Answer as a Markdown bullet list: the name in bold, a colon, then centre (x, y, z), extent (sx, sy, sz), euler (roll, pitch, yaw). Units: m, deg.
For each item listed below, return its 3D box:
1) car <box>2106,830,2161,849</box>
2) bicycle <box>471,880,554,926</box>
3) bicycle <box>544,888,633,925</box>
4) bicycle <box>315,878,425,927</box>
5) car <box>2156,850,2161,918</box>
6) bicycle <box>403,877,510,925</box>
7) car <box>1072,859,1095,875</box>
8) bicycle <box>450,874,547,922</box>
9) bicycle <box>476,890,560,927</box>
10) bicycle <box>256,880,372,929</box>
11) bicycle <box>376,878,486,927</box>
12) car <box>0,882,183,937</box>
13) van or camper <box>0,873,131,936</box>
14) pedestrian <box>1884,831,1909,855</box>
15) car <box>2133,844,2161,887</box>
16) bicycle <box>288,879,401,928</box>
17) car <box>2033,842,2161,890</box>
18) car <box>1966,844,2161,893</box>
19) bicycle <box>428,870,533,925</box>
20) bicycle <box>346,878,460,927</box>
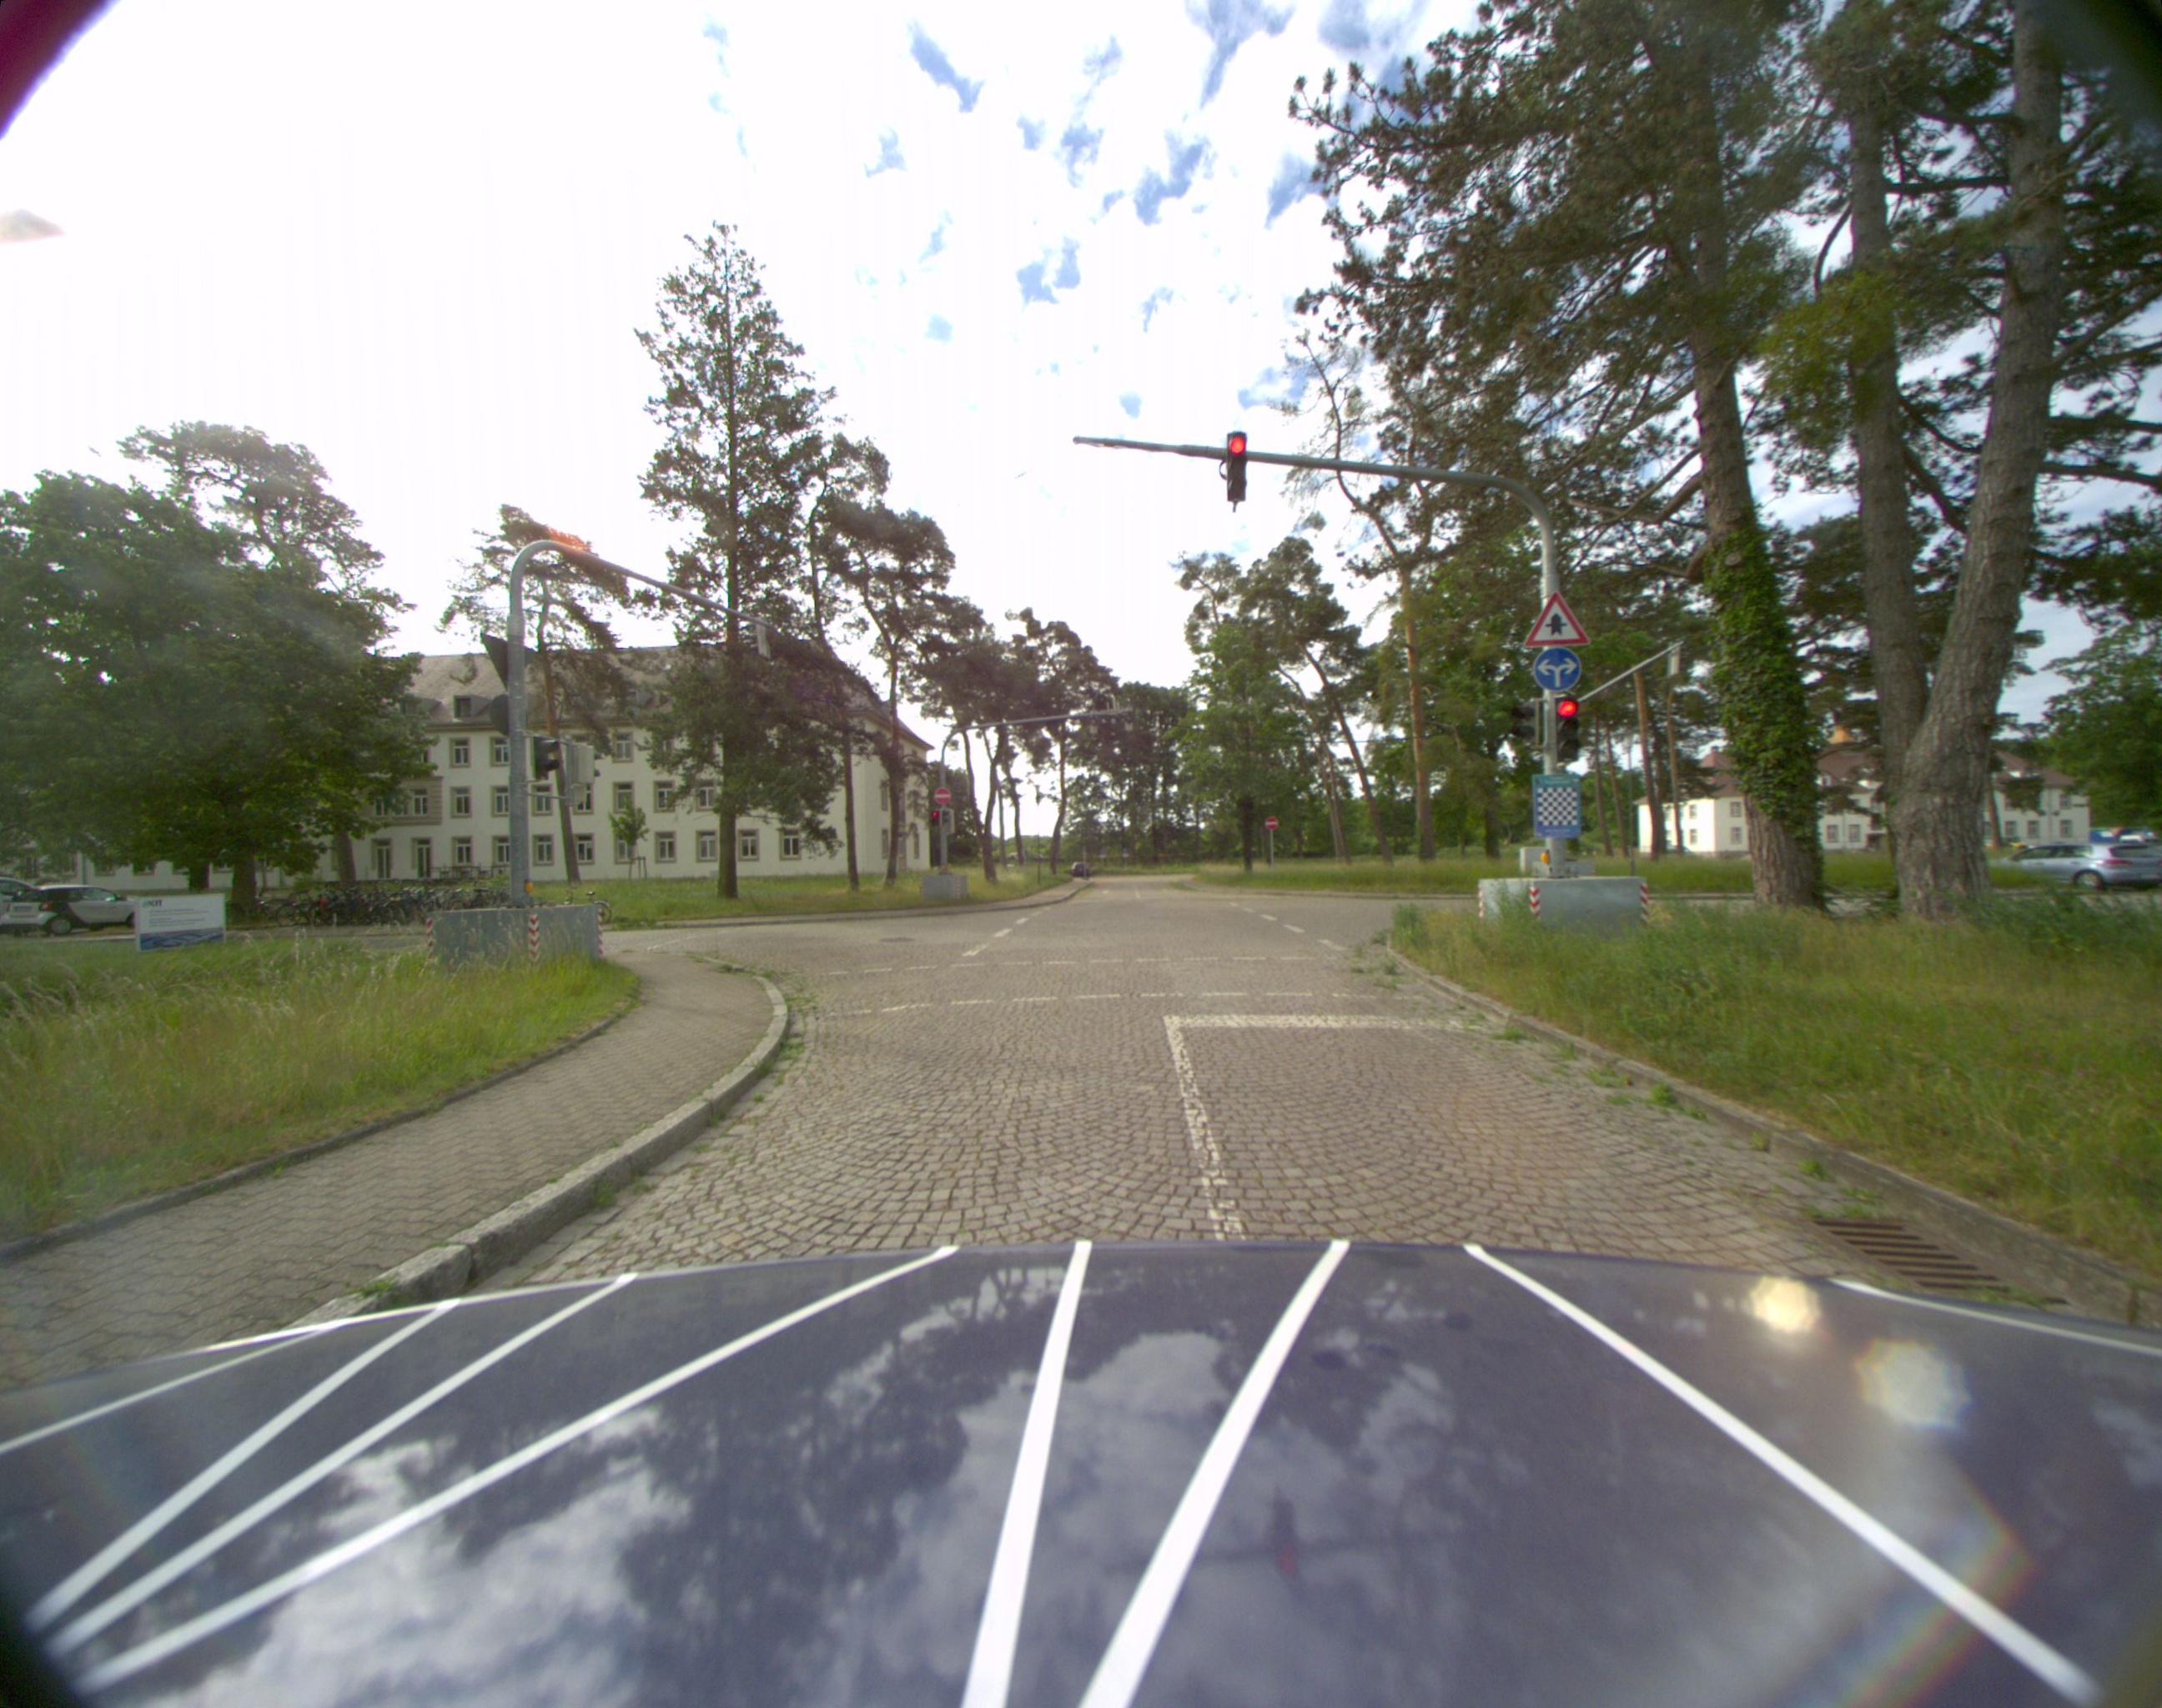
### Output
- **car**: centre (115.831, -1.552, 82.945), extent (4.830, 2.002, 2.168), euler (-1, 0, 2)
- **bicycle**: centre (-17.553, 1.494, 23.547), extent (0.873, 1.299, 2.120), euler (-1, 0, 3)
- **bicycle**: centre (-14.269, 1.514, 22.051), extent (1.977, 0.990, 0.904), euler (-1, 0, 3)
- **bicycle**: centre (-22.334, 1.501, 23.970), extent (0.950, 1.363, 2.577), euler (-1, 0, 2)
- **car**: centre (23.529, 0.494, 13.536), extent (1.912, 1.430, 4.824), euler (-1, -3, 2)
- **bicycle**: centre (-19.916, 1.471, 24.345), extent (0.950, 1.363, 2.812), euler (-1, 0, 3)
- **car**: centre (0.331, 1.313, 78.316), extent (1.998, 1.524, 4.002), euler (-1, 0, 5)
- **bicycle**: centre (-18.154, 1.341, 23.770), extent (0.873, 1.359, 2.628), euler (-1, 0, 3)
- **bicycle**: centre (-16.360, 1.575, 22.090), extent (1.976, 0.990, 0.730), euler (-1, 0, 8)
- **bicycle**: centre (-24.019, 1.545, 23.884), extent (0.950, 1.363, 2.577), euler (-1, 0, 2)
- **bicycle**: centre (-20.470, 1.479, 24.046), extent (0.950, 1.363, 2.812), euler (-1, 0, 3)
- **car**: centre (-32.295, 1.761, 24.845), extent (1.936, 1.611, 3.237), euler (-2, -1, 3)
- **van or camper**: centre (-35.709, 1.671, 24.981), extent (2.238, 1.946, 5.756), euler (-1, 0, -9)
- **pedestrian**: centre (77.006, -1.029, 71.767), extent (1.055, 2.165, 1.185), euler (-1, 0, 4)
- **car**: centre (36.581, 0.374, 23.738), extent (1.794, 1.437, 4.272), euler (-1, 0, 7)
- **bicycle**: centre (-23.173, 1.525, 24.003), extent (0.950, 1.363, 2.577), euler (-1, 0, 2)
- **car**: centre (33.880, 0.350, 24.096), extent (1.795, 1.437, 4.635), euler (-1, 0, 4)
- **car**: centre (31.287, 0.417, 24.183), extent (1.794, 1.410, 4.001), euler (-1, 0, 5)
- **bicycle**: centre (-18.998, 1.347, 24.164), extent (0.950, 1.574, 2.812), euler (-1, 0, 3)
- **bicycle**: centre (-21.363, 1.504, 24.065), extent (0.950, 1.363, 2.812), euler (-1, 0, 3)
